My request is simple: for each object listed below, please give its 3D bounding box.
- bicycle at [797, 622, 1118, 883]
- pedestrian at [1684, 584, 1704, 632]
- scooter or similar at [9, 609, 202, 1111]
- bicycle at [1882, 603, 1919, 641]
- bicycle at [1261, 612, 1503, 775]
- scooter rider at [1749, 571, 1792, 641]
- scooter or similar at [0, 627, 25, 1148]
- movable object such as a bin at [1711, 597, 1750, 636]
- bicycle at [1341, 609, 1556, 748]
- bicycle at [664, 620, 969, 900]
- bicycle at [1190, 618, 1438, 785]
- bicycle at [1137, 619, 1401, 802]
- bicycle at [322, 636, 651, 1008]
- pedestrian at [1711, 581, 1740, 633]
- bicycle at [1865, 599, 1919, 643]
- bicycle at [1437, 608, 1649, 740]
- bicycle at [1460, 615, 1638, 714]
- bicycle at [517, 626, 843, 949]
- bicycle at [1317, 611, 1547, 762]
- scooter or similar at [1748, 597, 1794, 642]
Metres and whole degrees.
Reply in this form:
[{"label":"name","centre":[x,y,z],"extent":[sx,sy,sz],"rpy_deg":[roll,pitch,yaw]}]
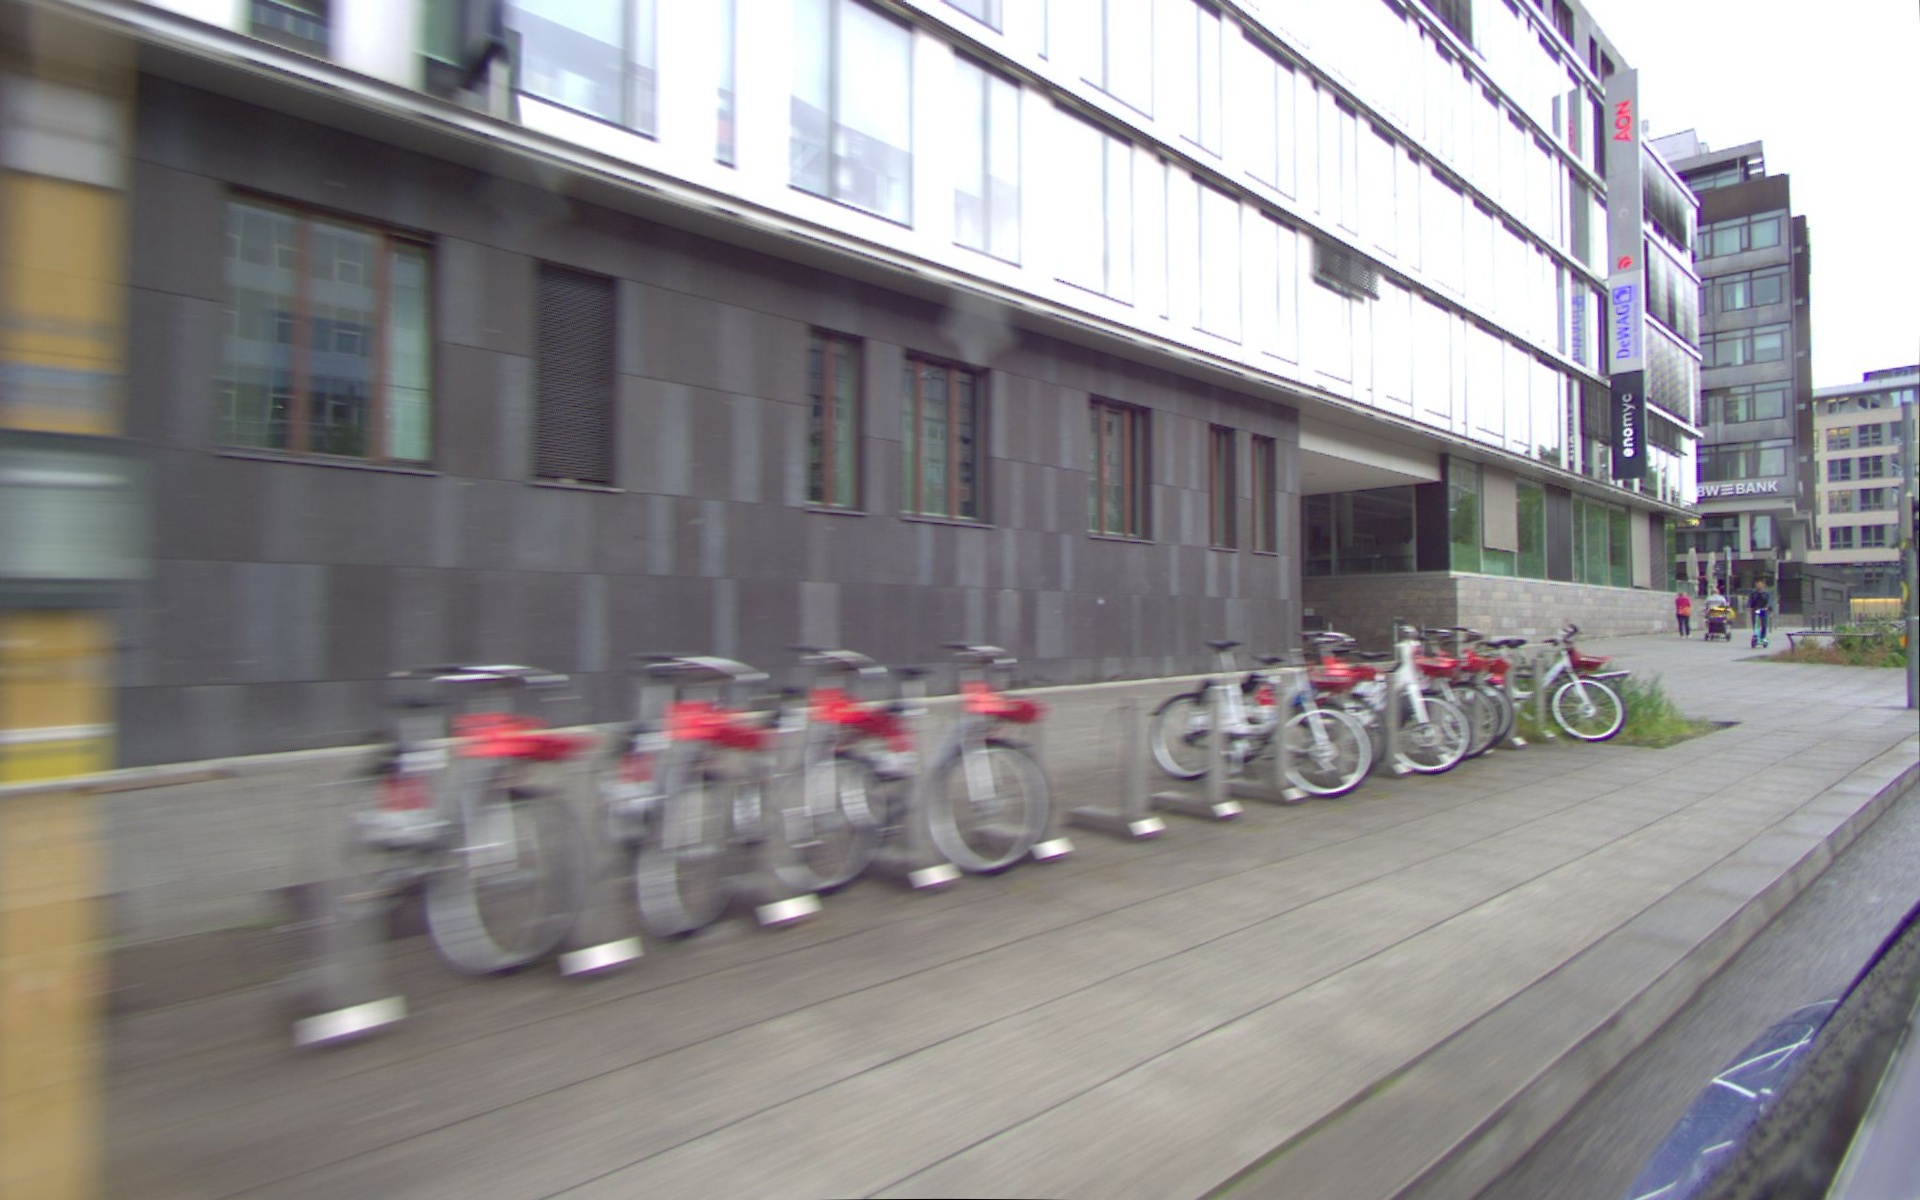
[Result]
[{"label":"bicycle","centre":[-0.068,0.712,5.433],"extent":[1.705,1.154,0.678],"rpy_deg":[-2,0,44]},{"label":"pedestrian","centre":[26.774,0.292,36.903],"extent":[0.569,1.720,0.484],"rpy_deg":[0,0,-43]},{"label":"scooter or similar","centre":[-2.626,0.676,3.080],"extent":[1.105,1.274,0.298],"rpy_deg":[-2,0,43]},{"label":"bicycle","centre":[28.546,0.656,29.883],"extent":[0.658,1.124,1.875],"rpy_deg":[0,0,-40]},{"label":"bicycle","centre":[3.456,0.709,8.387],"extent":[1.729,1.198,0.678],"rpy_deg":[-1,0,44]},{"label":"scooter rider","centre":[24.312,0.176,30.352],"extent":[0.907,2.047,0.780],"rpy_deg":[0,-1,-37]},{"label":"scooter or similar","centre":[-2.828,0.719,2.769],"extent":[1.059,1.274,0.298],"rpy_deg":[-2,0,43]},{"label":"movable object such as a bin","centre":[26.744,0.554,35.125],"extent":[1.758,1.281,0.803],"rpy_deg":[-1,1,-43]},{"label":"bicycle","centre":[4.637,0.694,9.679],"extent":[1.729,1.198,0.678],"rpy_deg":[-1,0,44]},{"label":"bicycle","centre":[-0.758,0.694,5.051],"extent":[1.534,1.154,0.678],"rpy_deg":[-2,0,43]},{"label":"bicycle","centre":[2.763,0.735,8.024],"extent":[1.729,1.155,0.678],"rpy_deg":[0,0,44]},{"label":"bicycle","centre":[2.212,0.730,7.403],"extent":[1.729,1.155,0.678],"rpy_deg":[0,0,44]},{"label":"bicycle","centre":[-1.933,0.740,4.026],"extent":[1.534,1.154,0.652],"rpy_deg":[-2,0,43]},{"label":"pedestrian","centre":[27.420,0.237,36.237],"extent":[0.734,1.853,0.722],"rpy_deg":[0,0,-43]},{"label":"bicycle","centre":[27.004,0.598,28.863],"extent":[1.791,1.222,0.659],"rpy_deg":[0,0,43]},{"label":"bicycle","centre":[5.786,0.684,10.110],"extent":[1.729,1.198,0.678],"rpy_deg":[-1,0,44]},{"label":"bicycle","centre":[7.012,0.731,12.096],"extent":[1.729,1.083,0.678],"rpy_deg":[0,0,44]},{"label":"bicycle","centre":[-1.289,0.708,4.492],"extent":[1.534,1.154,0.678],"rpy_deg":[-2,0,43]},{"label":"bicycle","centre":[4.157,0.705,8.999],"extent":[1.729,1.198,0.678],"rpy_deg":[-1,0,44]},{"label":"scooter or similar","centre":[24.331,0.571,30.353],"extent":[1.310,1.322,0.780],"rpy_deg":[0,-1,-38]}]
